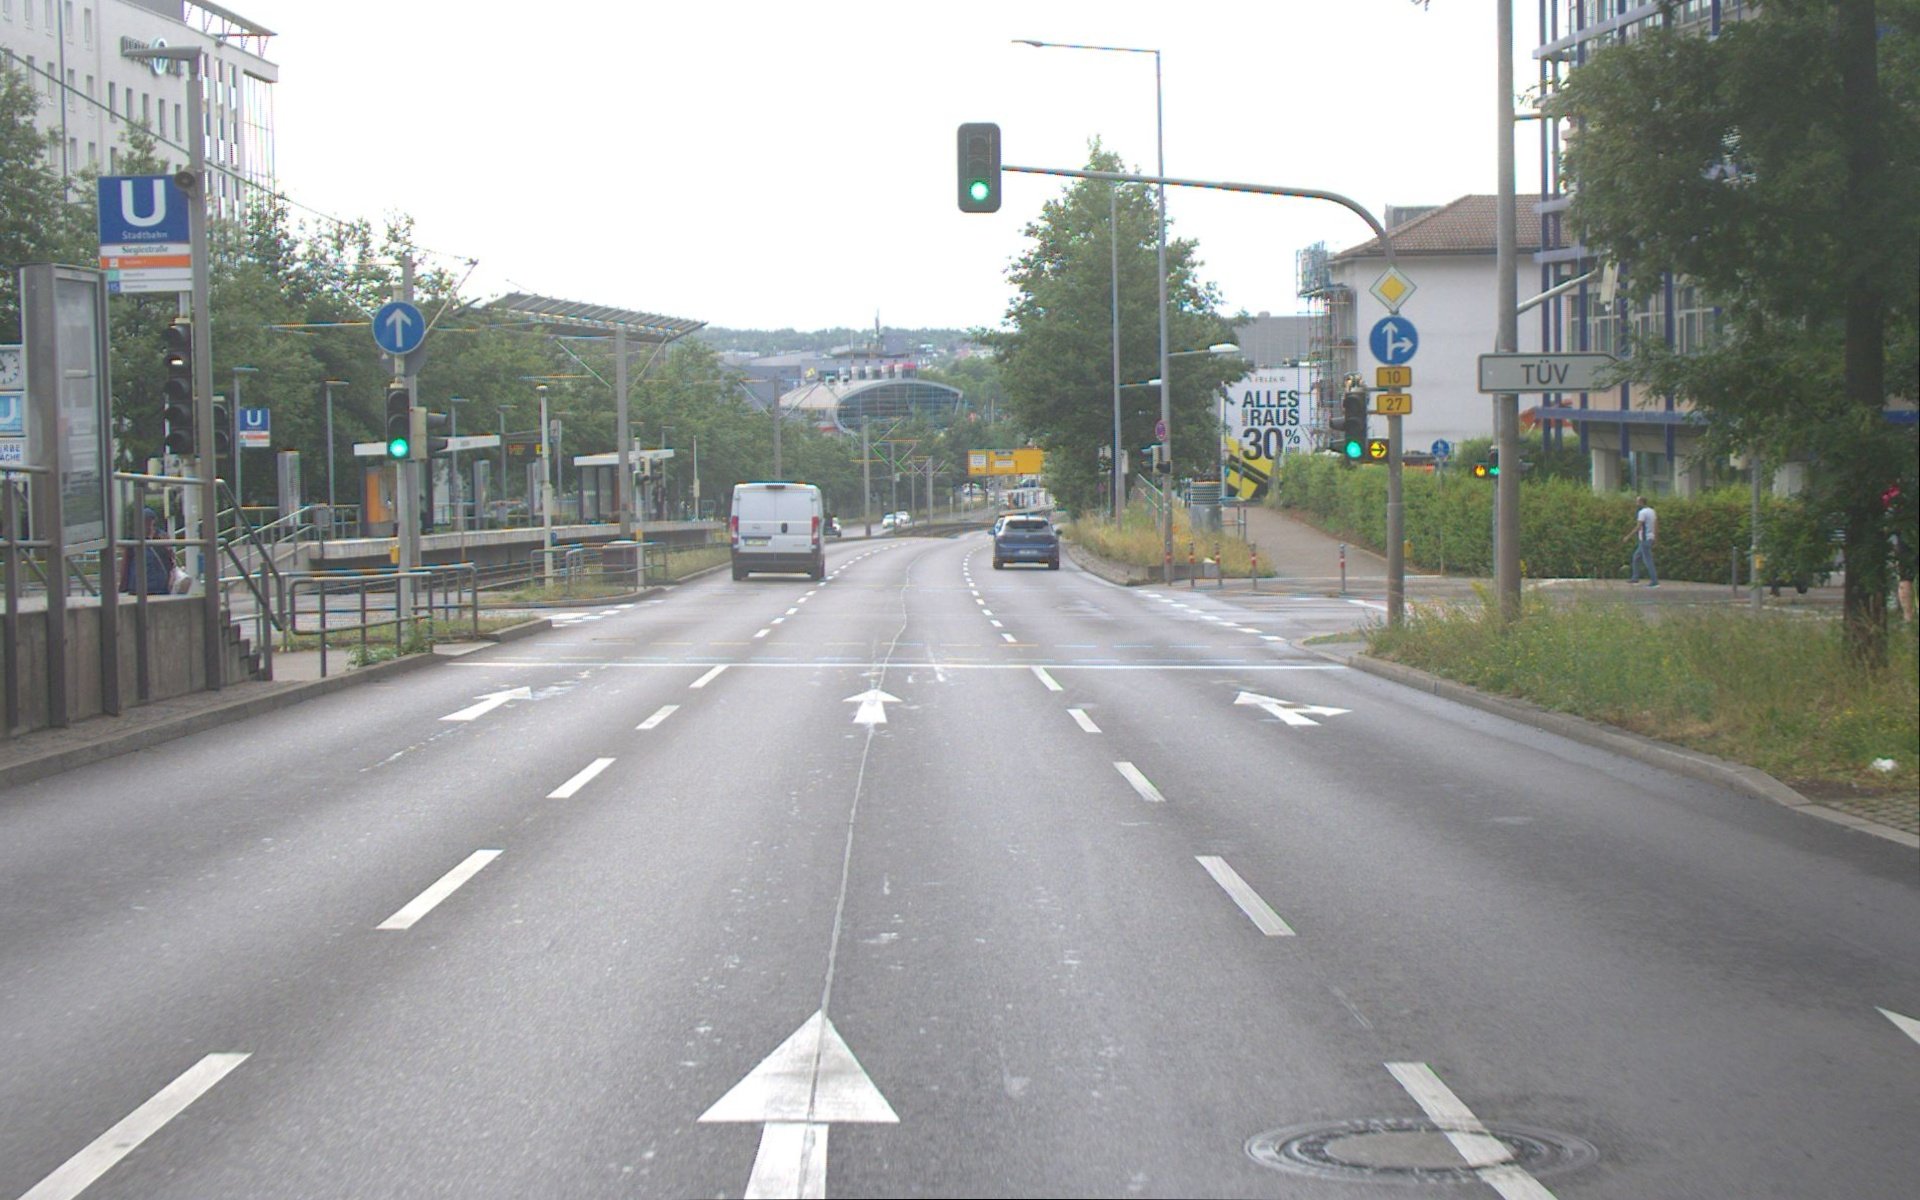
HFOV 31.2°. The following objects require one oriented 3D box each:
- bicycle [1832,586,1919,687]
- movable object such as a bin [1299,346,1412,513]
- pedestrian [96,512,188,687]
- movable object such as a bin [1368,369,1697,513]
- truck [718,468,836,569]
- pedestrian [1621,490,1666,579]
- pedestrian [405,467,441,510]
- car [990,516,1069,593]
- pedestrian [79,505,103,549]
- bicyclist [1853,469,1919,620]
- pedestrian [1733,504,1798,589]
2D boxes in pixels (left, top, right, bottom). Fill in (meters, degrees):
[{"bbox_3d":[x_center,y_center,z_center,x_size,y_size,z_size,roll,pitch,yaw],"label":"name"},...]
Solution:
[{"bbox_3d":[8.282,0.310,30.087,0.667,0.806,2.319,1,1,-1],"label":"bicycle"},{"bbox_3d":[14.126,-6.011,123.367,3.290,5.665,8.763,1,1,2],"label":"movable object such as a bin"},{"bbox_3d":[-7.823,-0.018,32.867,0.700,1.645,0.649,-1,2,-29],"label":"pedestrian"},{"bbox_3d":[22.254,-6.160,134.177,12.141,5.243,3.790,-1,1,0],"label":"movable object such as a bin"},{"bbox_3d":[-4.226,-1.890,80.115,2.360,2.254,5.306,1,1,1],"label":"truck"},{"bbox_3d":[12.809,-1.236,64.410,0.554,1.646,0.832,-1,2,-10],"label":"pedestrian"},{"bbox_3d":[-16.108,-3.346,103.130,0.961,1.295,0.684,-1,2,1],"label":"pedestrian"},{"bbox_3d":[1.910,-1.247,93.500,1.994,2.007,3.934,1,1,3],"label":"car"},{"bbox_3d":[-31.454,-2.627,124.413,0.600,1.572,0.835,1,1,2],"label":"pedestrian"},{"bbox_3d":[8.301,-0.487,29.988,0.655,1.284,1.219,2,1,-1],"label":"bicyclist"},{"bbox_3d":[14.650,-0.979,62.516,0.903,1.536,0.798,1,2,38],"label":"pedestrian"}]
